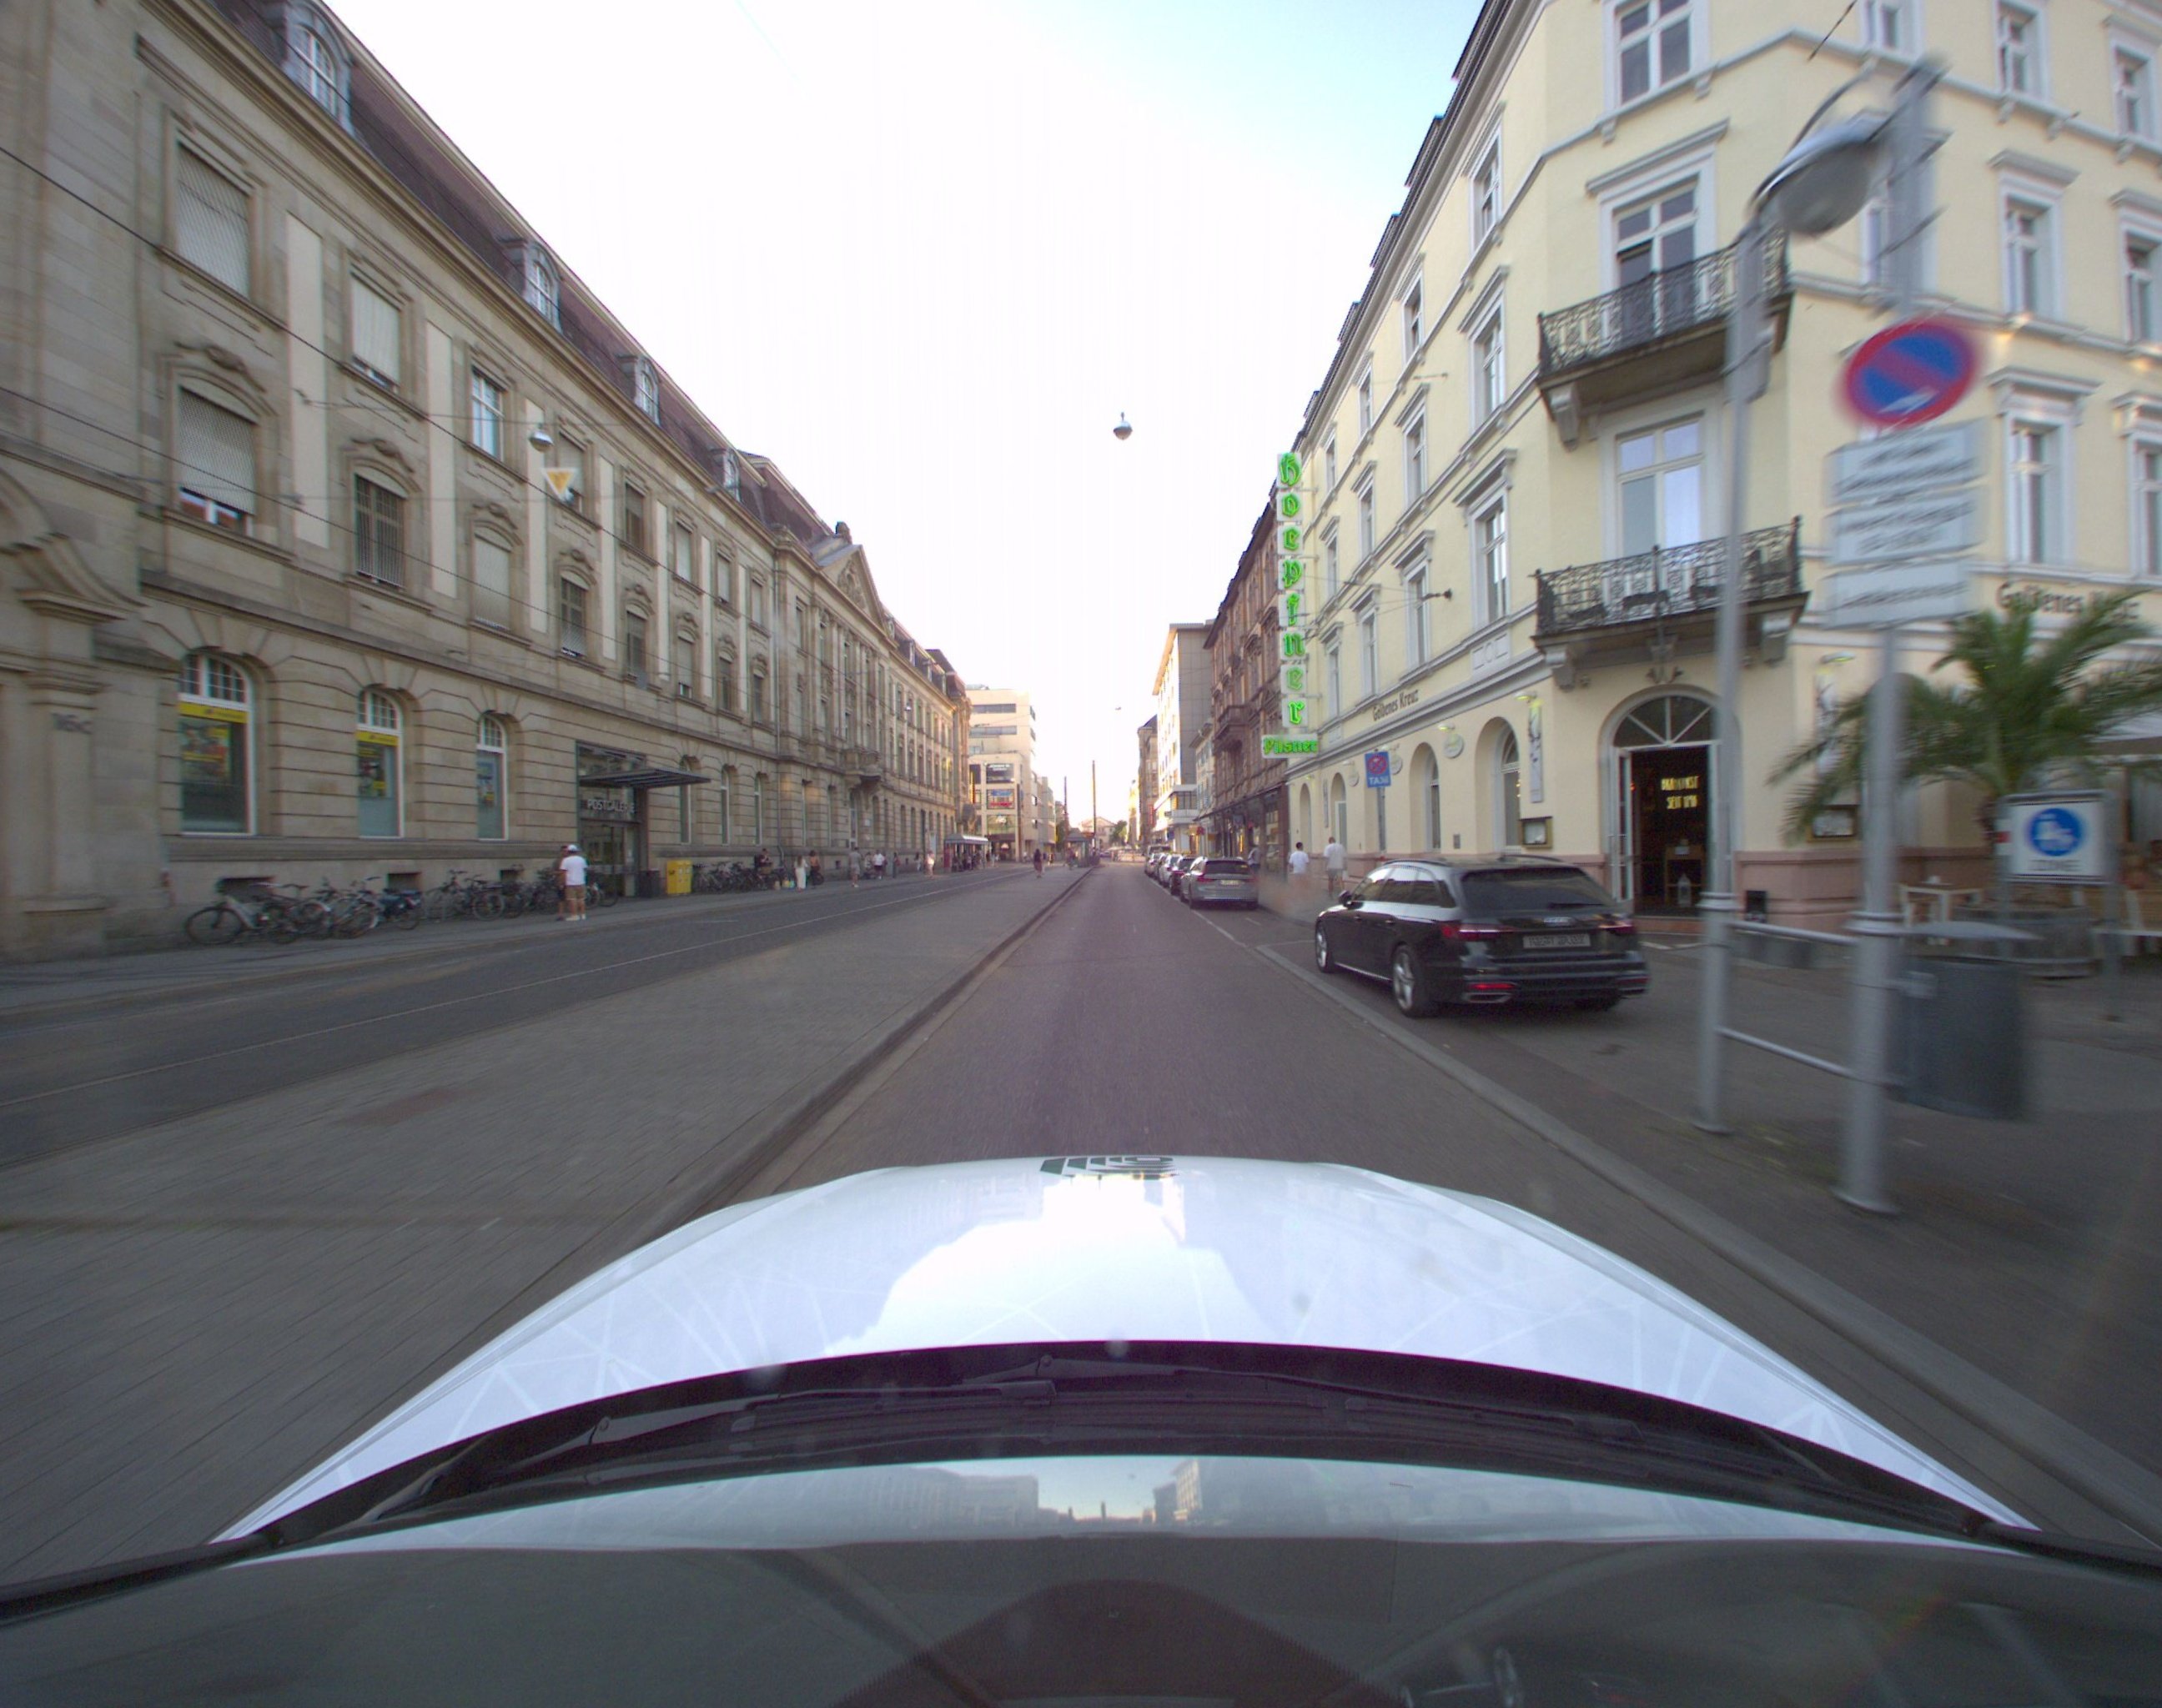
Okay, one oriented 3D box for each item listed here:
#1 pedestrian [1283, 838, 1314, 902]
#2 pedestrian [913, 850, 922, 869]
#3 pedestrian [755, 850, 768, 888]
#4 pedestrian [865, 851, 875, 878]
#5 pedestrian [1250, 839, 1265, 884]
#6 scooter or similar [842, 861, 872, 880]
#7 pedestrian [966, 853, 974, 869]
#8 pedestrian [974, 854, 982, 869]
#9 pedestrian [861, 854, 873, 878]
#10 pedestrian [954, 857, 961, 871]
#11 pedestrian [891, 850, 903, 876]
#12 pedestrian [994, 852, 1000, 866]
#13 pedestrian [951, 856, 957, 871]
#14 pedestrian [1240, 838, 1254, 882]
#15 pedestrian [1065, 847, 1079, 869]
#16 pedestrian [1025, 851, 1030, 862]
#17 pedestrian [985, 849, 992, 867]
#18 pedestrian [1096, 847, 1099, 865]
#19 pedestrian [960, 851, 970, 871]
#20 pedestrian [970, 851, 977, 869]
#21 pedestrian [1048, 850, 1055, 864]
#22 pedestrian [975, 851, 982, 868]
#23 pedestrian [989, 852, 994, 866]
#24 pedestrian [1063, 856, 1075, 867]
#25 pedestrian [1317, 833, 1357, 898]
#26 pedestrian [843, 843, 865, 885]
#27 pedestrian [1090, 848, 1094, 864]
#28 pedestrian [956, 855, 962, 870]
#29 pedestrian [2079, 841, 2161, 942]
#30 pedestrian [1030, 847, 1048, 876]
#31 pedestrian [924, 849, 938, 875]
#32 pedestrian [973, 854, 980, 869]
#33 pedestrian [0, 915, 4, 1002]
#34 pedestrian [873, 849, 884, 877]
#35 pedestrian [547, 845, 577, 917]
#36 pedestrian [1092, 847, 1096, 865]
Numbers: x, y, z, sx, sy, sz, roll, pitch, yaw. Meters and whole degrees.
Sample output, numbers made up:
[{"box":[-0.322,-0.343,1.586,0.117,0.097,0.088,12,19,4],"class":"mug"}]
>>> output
[{"box":[5.981,0.435,22.416,0.615,1.689,0.487,-6,0,9],"class":"pedestrian"},{"box":[-13.333,0.460,66.515,0.660,1.562,0.677,-1,0,-12],"class":"pedestrian"},{"box":[-13.717,0.648,34.942,0.362,1.633,0.430,0,-1,8],"class":"pedestrian"},{"box":[-12.573,0.619,48.564,0.333,1.642,0.607,0,-1,9],"class":"pedestrian"},{"box":[7.084,0.312,32.723,0.372,1.768,0.663,-3,0,-2],"class":"pedestrian"},{"box":[-12.688,0.907,46.101,1.539,1.068,0.451,0,-1,6],"class":"scooter or similar"},{"box":[-9.501,0.589,69.612,0.515,1.327,0.639,-1,-1,5],"class":"pedestrian"},{"box":[-9.241,0.672,72.986,0.515,1.327,0.639,-1,-1,5],"class":"pedestrian"},{"box":[-13.037,0.705,49.552,0.435,1.440,0.575,0,-1,38],"class":"pedestrian"},{"box":[-9.602,0.748,63.288,0.362,1.102,0.430,0,-1,8],"class":"pedestrian"},{"box":[-11.399,0.542,50.498,0.565,1.605,0.443,0,-1,28],"class":"pedestrian"},{"box":[-9.278,0.510,90.140,0.527,1.525,0.499,-1,0,-18],"class":"pedestrian"},{"box":[-9.779,0.744,62.706,0.362,1.102,0.430,0,-1,8],"class":"pedestrian"},{"box":[6.779,0.224,33.305,0.372,1.768,0.455,-3,0,-2],"class":"pedestrian"},{"box":[-0.668,0.295,62.606,0.679,1.638,0.866,-1,0,42],"class":"pedestrian"},{"box":[-9.138,0.376,138.802,0.569,1.855,0.819,0,-1,14],"class":"pedestrian"},{"box":[-9.076,0.386,79.913,0.558,1.776,0.468,-1,0,-3],"class":"pedestrian"},{"box":[1.688,0.207,84.938,0.340,1.796,0.544,0,-1,0],"class":"pedestrian"},{"box":[-9.607,0.574,67.228,0.513,1.650,0.641,-1,-1,24],"class":"pedestrian"},{"box":[-10.025,0.532,76.173,0.515,1.646,0.639,-1,-1,5],"class":"pedestrian"},{"box":[-3.720,0.381,102.608,0.695,1.815,0.854,0,0,9],"class":"pedestrian"},{"box":[-9.651,0.554,76.931,0.515,1.569,0.639,-1,-1,5],"class":"pedestrian"},{"box":[-9.849,0.550,89.689,0.519,1.525,0.499,-1,0,-15],"class":"pedestrian"},{"box":[-0.981,0.604,67.657,0.791,0.939,0.697,-1,0,24],"class":"pedestrian"},{"box":[6.971,0.308,22.193,0.757,1.689,0.551,-6,0,1],"class":"pedestrian"},{"box":[-9.872,0.434,35.457,0.689,1.813,0.815,-1,0,1],"class":"pedestrian"},{"box":[1.131,0.190,82.128,0.384,1.642,0.549,0,-1,0],"class":"pedestrian"},{"box":[-9.615,0.684,64.135,0.362,1.200,0.430,0,-1,8],"class":"pedestrian"},{"box":[13.163,0.453,10.253,0.667,1.217,0.489,-1,0,-11],"class":"pedestrian"},{"box":[-2.258,0.407,43.853,0.843,1.501,0.901,-1,0,1],"class":"pedestrian"},{"box":[-9.056,0.479,49.169,0.657,1.562,0.680,-1,0,1],"class":"pedestrian"},{"box":[-9.267,0.667,72.218,0.515,1.327,0.639,-1,-1,5],"class":"pedestrian"},{"box":[-10.692,0.578,7.590,0.476,1.736,0.684,-2,0,44],"class":"pedestrian"},{"box":[-12.110,0.537,48.704,0.473,1.642,0.563,0,-1,8],"class":"pedestrian"},{"box":[-12.314,0.629,19.317,0.374,1.673,0.493,0,-1,0],"class":"pedestrian"},{"box":[1.248,0.185,79.113,0.410,1.767,0.594,0,-1,0],"class":"pedestrian"}]
